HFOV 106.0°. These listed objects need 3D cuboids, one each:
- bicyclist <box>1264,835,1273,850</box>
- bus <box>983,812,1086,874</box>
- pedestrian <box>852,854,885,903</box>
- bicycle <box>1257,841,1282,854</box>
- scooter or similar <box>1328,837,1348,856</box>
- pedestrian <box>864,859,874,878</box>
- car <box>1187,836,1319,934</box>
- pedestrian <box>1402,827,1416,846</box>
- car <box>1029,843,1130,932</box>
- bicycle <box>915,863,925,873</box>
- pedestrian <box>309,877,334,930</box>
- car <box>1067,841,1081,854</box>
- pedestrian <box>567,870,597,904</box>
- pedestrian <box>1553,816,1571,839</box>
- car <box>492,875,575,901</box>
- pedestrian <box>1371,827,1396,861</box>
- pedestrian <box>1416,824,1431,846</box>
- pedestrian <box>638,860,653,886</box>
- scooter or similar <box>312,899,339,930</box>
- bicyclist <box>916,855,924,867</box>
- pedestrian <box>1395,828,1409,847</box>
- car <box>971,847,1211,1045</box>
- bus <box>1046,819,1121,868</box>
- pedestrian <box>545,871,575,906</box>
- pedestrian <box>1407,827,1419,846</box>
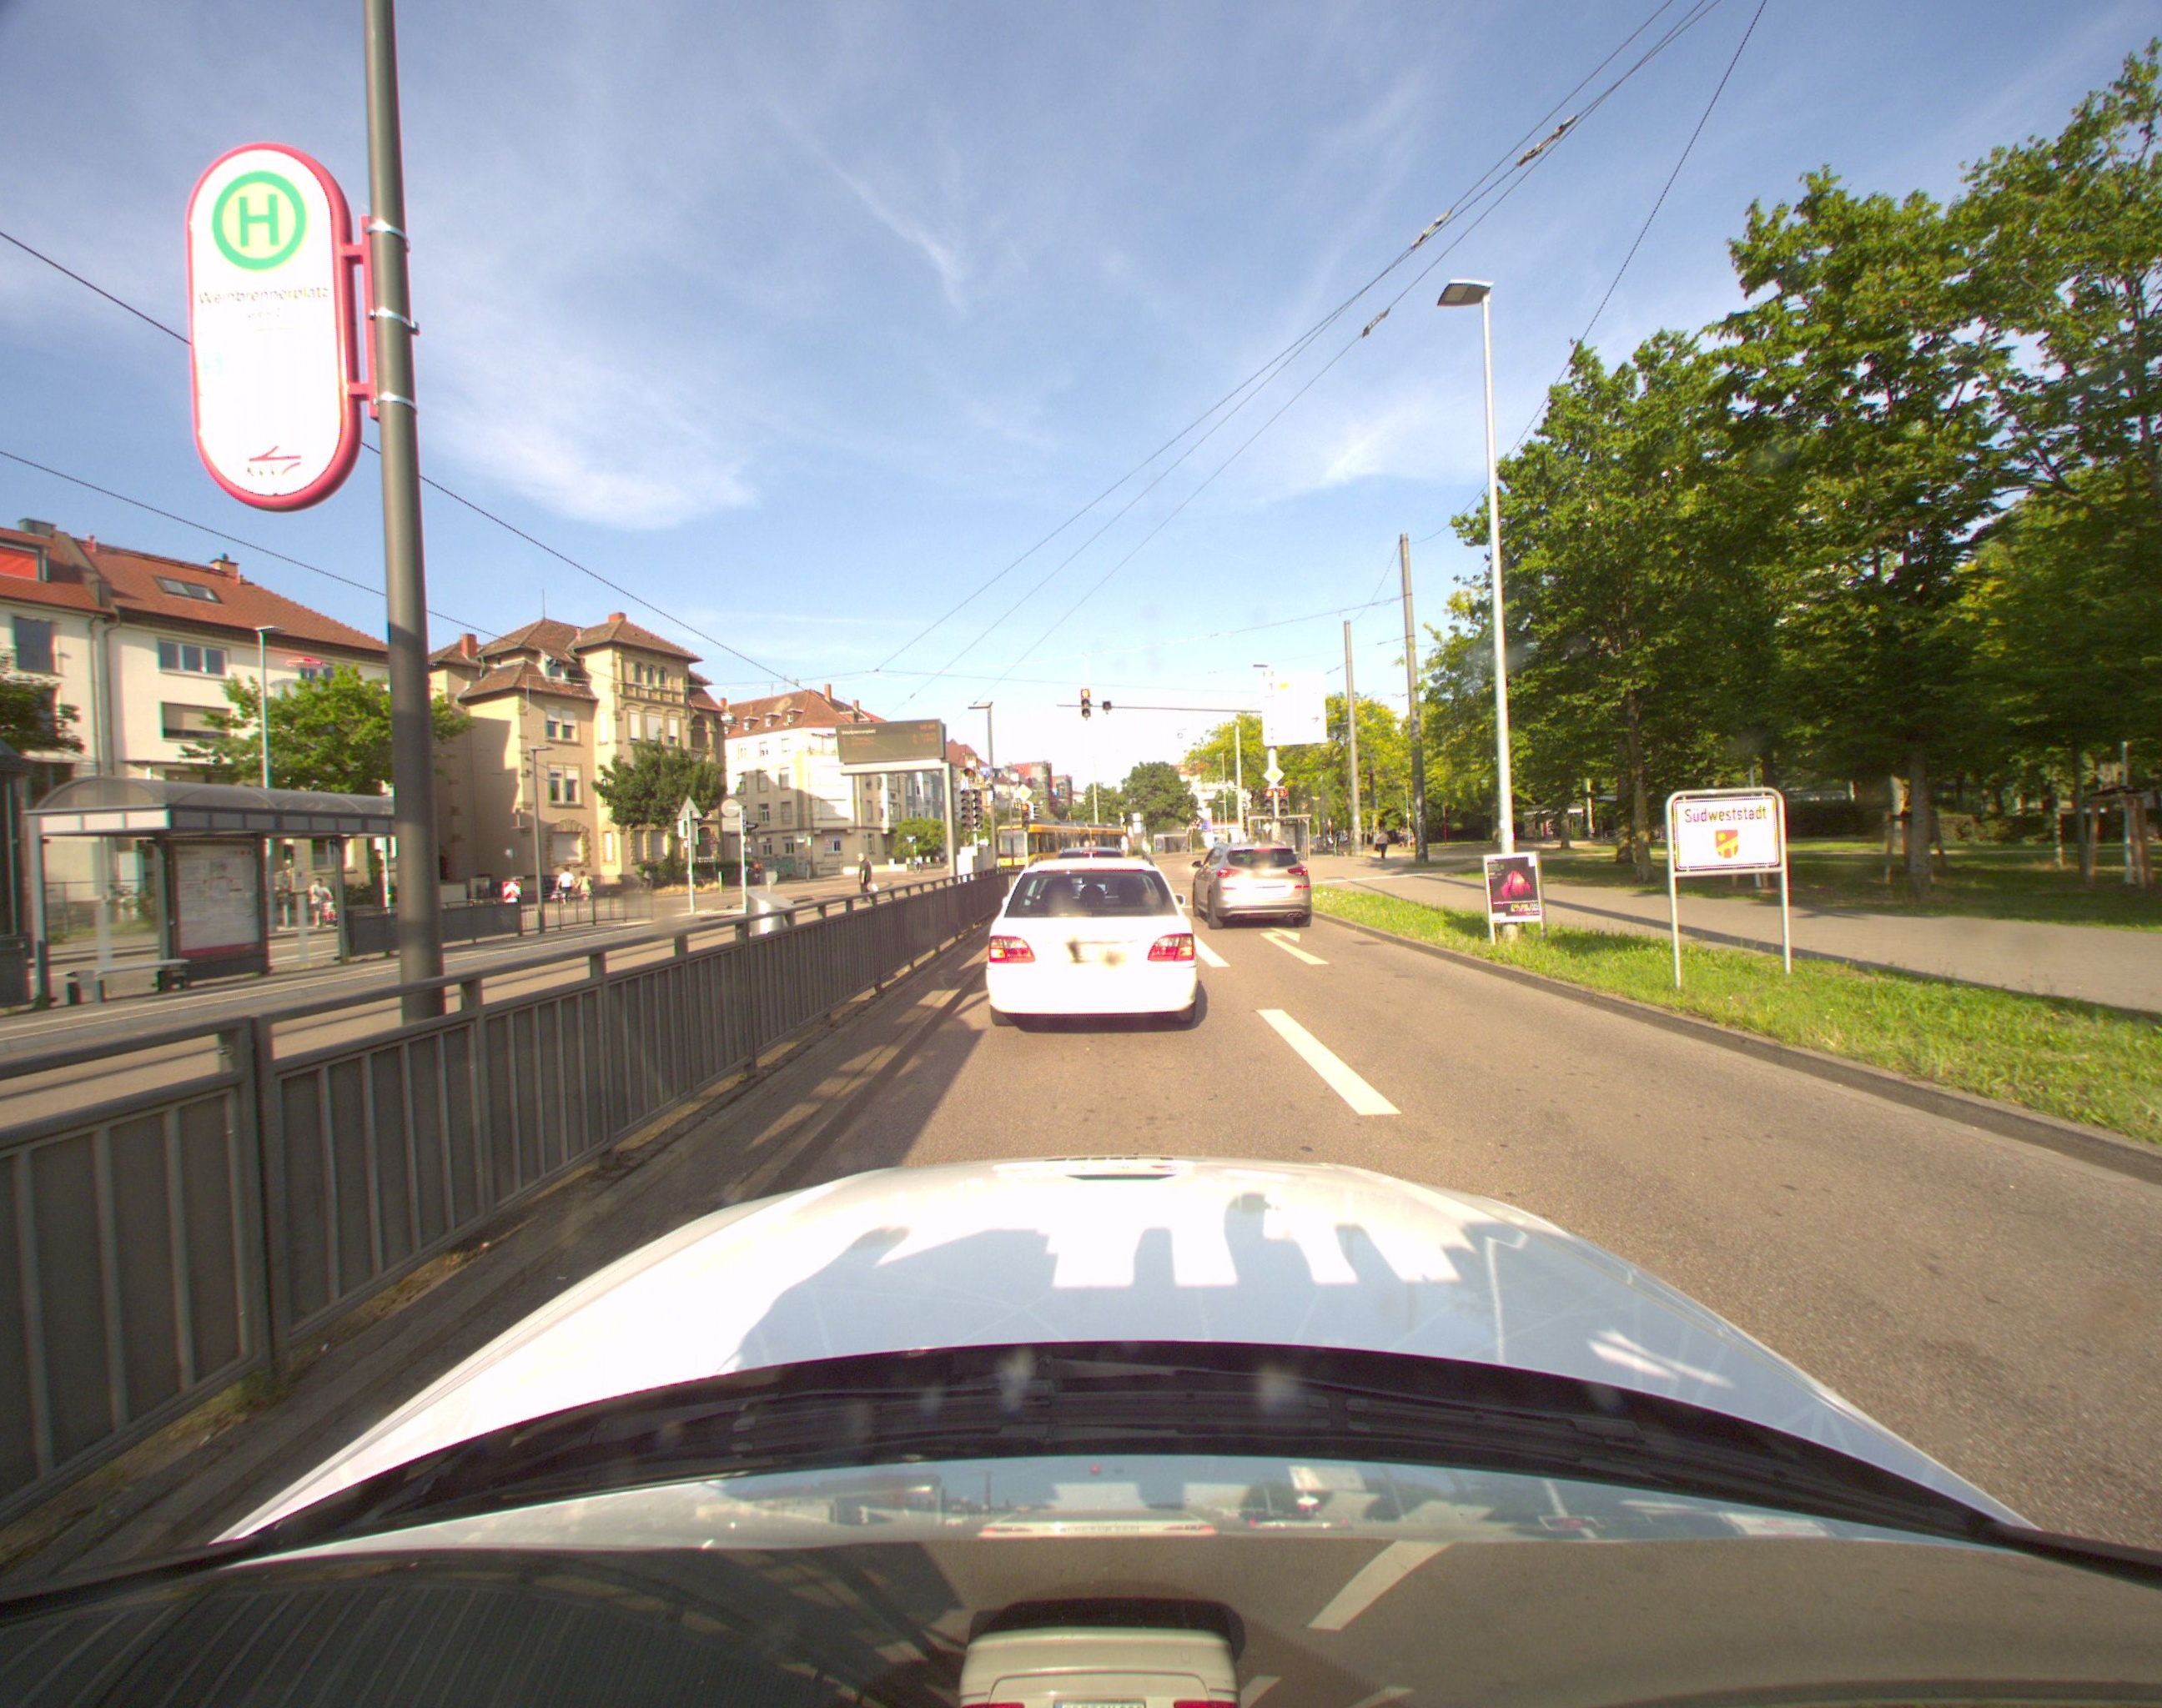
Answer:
[{"bbox_3d":[19.710,-1.186,85.522,0.856,1.481,0.791,-3,0,9],"label":"bicyclist"},{"bbox_3d":[-2.699,-0.613,53.618,3.086,3.606,12.423,-1,0,15],"label":"bus"},{"bbox_3d":[-7.320,0.837,28.057,0.798,1.645,0.748,-3,0,-43],"label":"pedestrian"},{"bbox_3d":[19.774,-0.696,85.521,2.468,1.213,0.809,-3,0,9],"label":"bicycle"},{"bbox_3d":[15.702,-0.440,49.699,0.421,1.117,1.322,-3,0,-18],"label":"scooter or similar"},{"bbox_3d":[-18.233,1.247,69.978,0.627,1.541,0.711,-3,0,1],"label":"pedestrian"},{"bbox_3d":[3.290,0.536,16.285,1.878,1.651,3.649,-3,0,1],"label":"car"},{"bbox_3d":[27.507,-1.455,68.272,0.813,1.487,0.698,-3,0,-10],"label":"pedestrian"},{"bbox_3d":[0.015,0.611,16.974,1.878,1.651,3.649,0,0,1],"label":"car"},{"bbox_3d":[-14.251,1.228,72.191,0.524,0.834,1.686,-3,0,1],"label":"bicycle"},{"bbox_3d":[-26.044,1.684,27.934,0.552,1.746,0.754,-3,0,-42],"label":"pedestrian"},{"bbox_3d":[-1.152,-1.102,134.734,2.067,2.014,4.165,-1,0,2],"label":"car"},{"bbox_3d":[-23.540,1.546,38.421,0.822,1.552,0.786,-3,0,23],"label":"pedestrian"},{"bbox_3d":[35.008,-1.903,59.289,0.831,1.636,0.804,-3,0,7],"label":"pedestrian"},{"bbox_3d":[-29.808,1.822,44.338,4.067,1.310,1.774,-1,0,23],"label":"car"},{"bbox_3d":[15.023,-0.502,40.434,0.758,1.636,0.799,-3,0,-38],"label":"pedestrian"},{"bbox_3d":[28.526,-1.608,67.903,0.798,1.785,0.838,-3,0,-3],"label":"pedestrian"},{"bbox_3d":[-24.975,1.089,46.699,0.434,1.500,0.551,-3,0,16],"label":"pedestrian"},{"bbox_3d":[-25.385,2.025,27.353,1.010,0.988,0.561,-3,0,43],"label":"scooter or similar"},{"bbox_3d":[-14.287,0.626,72.194,0.511,1.044,0.679,-3,0,1],"label":"bicyclist"},{"bbox_3d":[26.665,-1.372,67.675,0.820,1.487,0.692,-3,0,-40],"label":"pedestrian"},{"bbox_3d":[0.117,0.688,7.989,1.789,1.470,3.648,-1,0,1],"label":"car"},{"bbox_3d":[0.438,-0.740,65.755,3.086,3.606,12.638,-1,0,14],"label":"bus"},{"bbox_3d":[-24.522,1.630,38.335,0.822,1.552,0.786,-3,0,23],"label":"pedestrian"},{"bbox_3d":[27.187,-1.432,66.764,0.805,1.487,0.705,-3,0,26],"label":"pedestrian"}]
